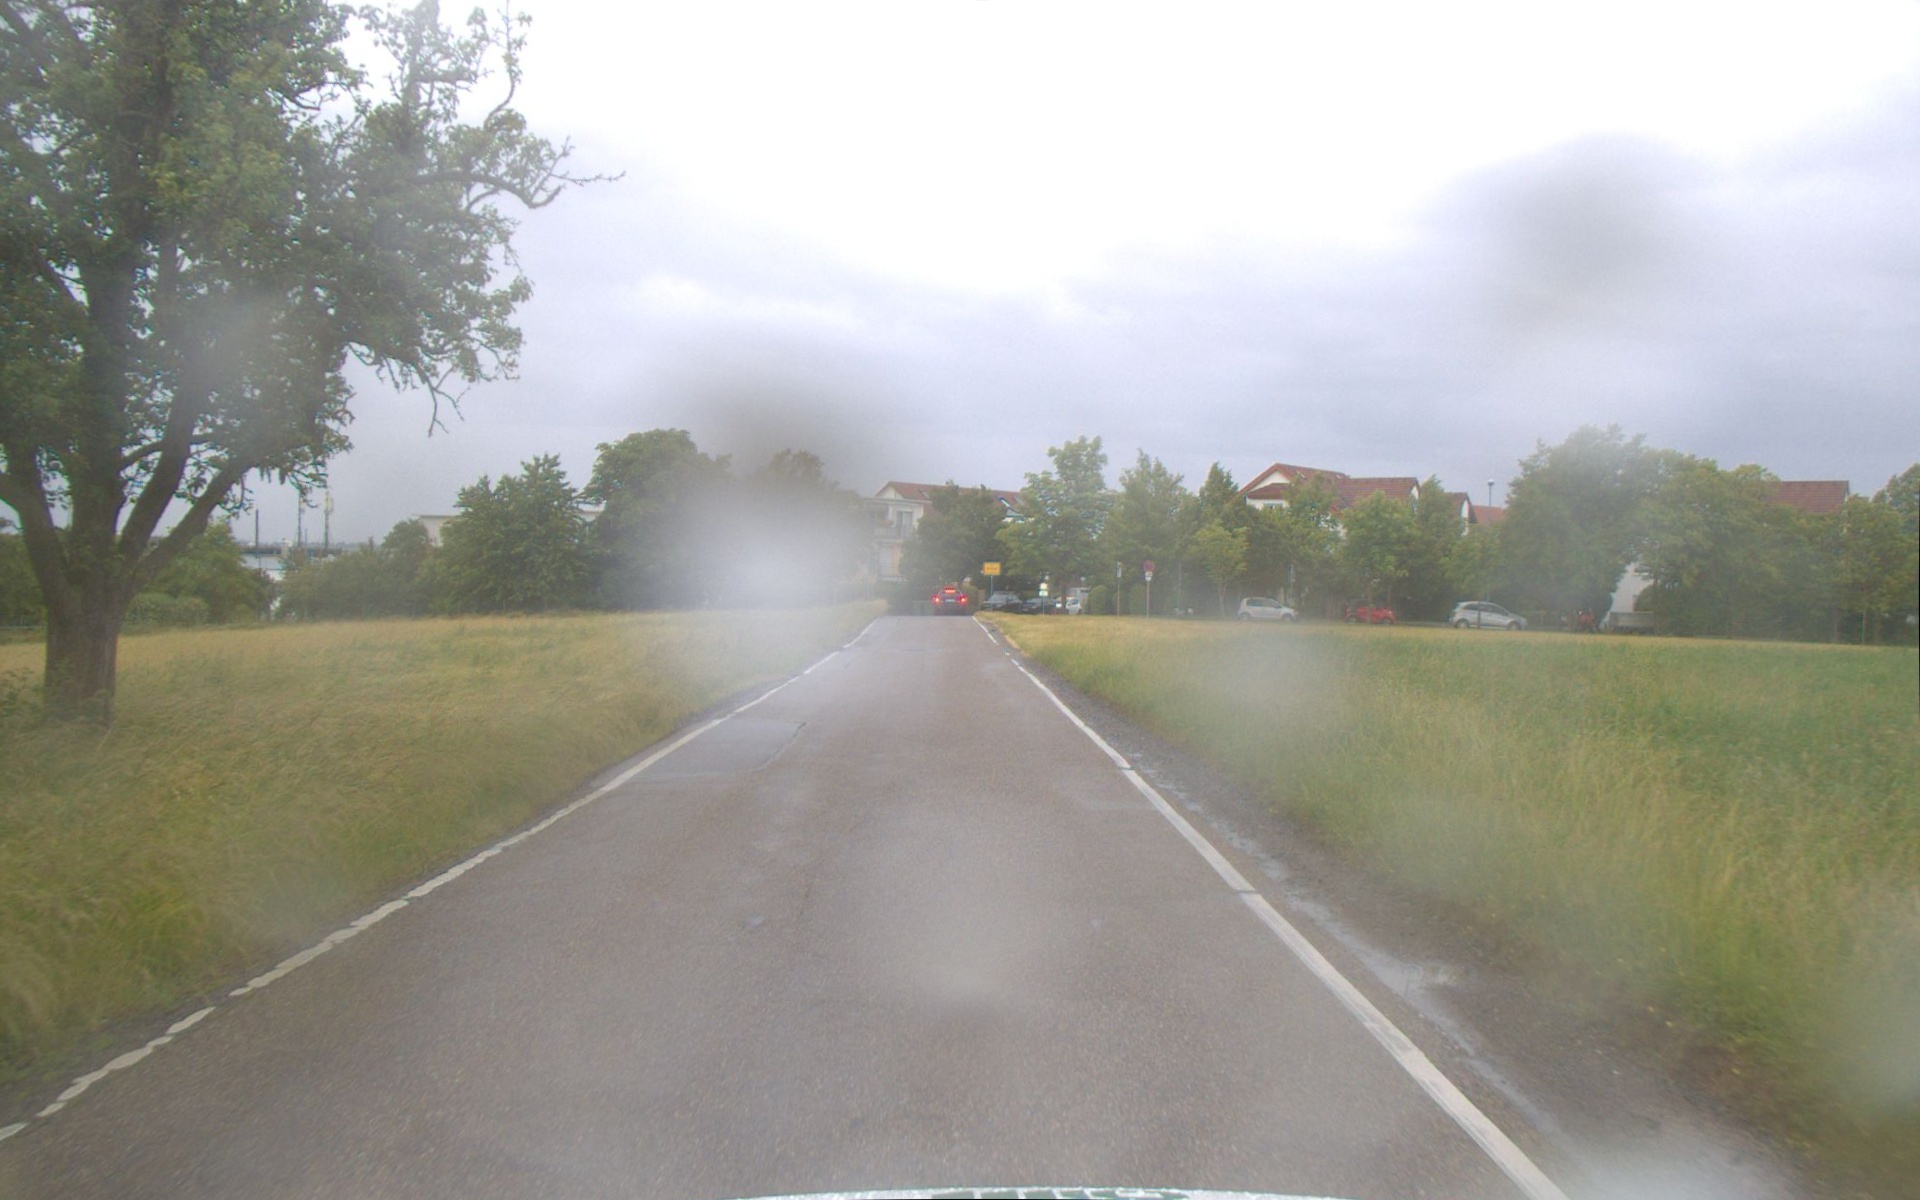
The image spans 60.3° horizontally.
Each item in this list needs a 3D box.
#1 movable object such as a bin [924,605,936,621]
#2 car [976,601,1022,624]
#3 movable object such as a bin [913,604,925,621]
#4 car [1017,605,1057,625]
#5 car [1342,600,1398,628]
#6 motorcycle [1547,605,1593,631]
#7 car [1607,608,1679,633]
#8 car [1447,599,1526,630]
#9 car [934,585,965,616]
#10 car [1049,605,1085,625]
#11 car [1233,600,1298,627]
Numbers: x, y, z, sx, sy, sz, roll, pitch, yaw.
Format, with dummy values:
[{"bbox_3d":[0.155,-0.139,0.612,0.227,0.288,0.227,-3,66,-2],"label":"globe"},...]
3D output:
[{"bbox_3d":[-2.010,0.863,110.665,0.680,1.093,0.602,0,0,20],"label":"movable object such as a bin"},{"bbox_3d":[2.917,0.948,122.185,1.741,1.545,4.132,3,0,27],"label":"car"},{"bbox_3d":[-2.724,0.843,110.923,0.651,1.092,0.544,0,0,20],"label":"movable object such as a bin"},{"bbox_3d":[5.939,1.128,127.149,1.604,1.433,3.598,3,0,29],"label":"car"},{"bbox_3d":[22.781,0.801,91.929,2.939,1.461,1.554,1,-1,17],"label":"car"},{"bbox_3d":[32.855,0.949,89.115,2.209,1.325,0.972,2,0,11],"label":"motorcycle"},{"bbox_3d":[36.626,1.094,88.759,3.246,1.303,1.735,1,0,11],"label":"car"},{"bbox_3d":[28.779,0.786,90.491,3.892,1.579,1.853,2,0,12],"label":"car"},{"bbox_3d":[-0.612,0.054,90.667,1.652,1.579,3.696,1,-1,-1],"label":"car"},{"bbox_3d":[8.552,1.192,131.845,1.483,1.502,3.266,3,0,30],"label":"car"},{"bbox_3d":[17.266,0.757,93.404,3.468,1.505,1.680,0,-1,17],"label":"car"}]
